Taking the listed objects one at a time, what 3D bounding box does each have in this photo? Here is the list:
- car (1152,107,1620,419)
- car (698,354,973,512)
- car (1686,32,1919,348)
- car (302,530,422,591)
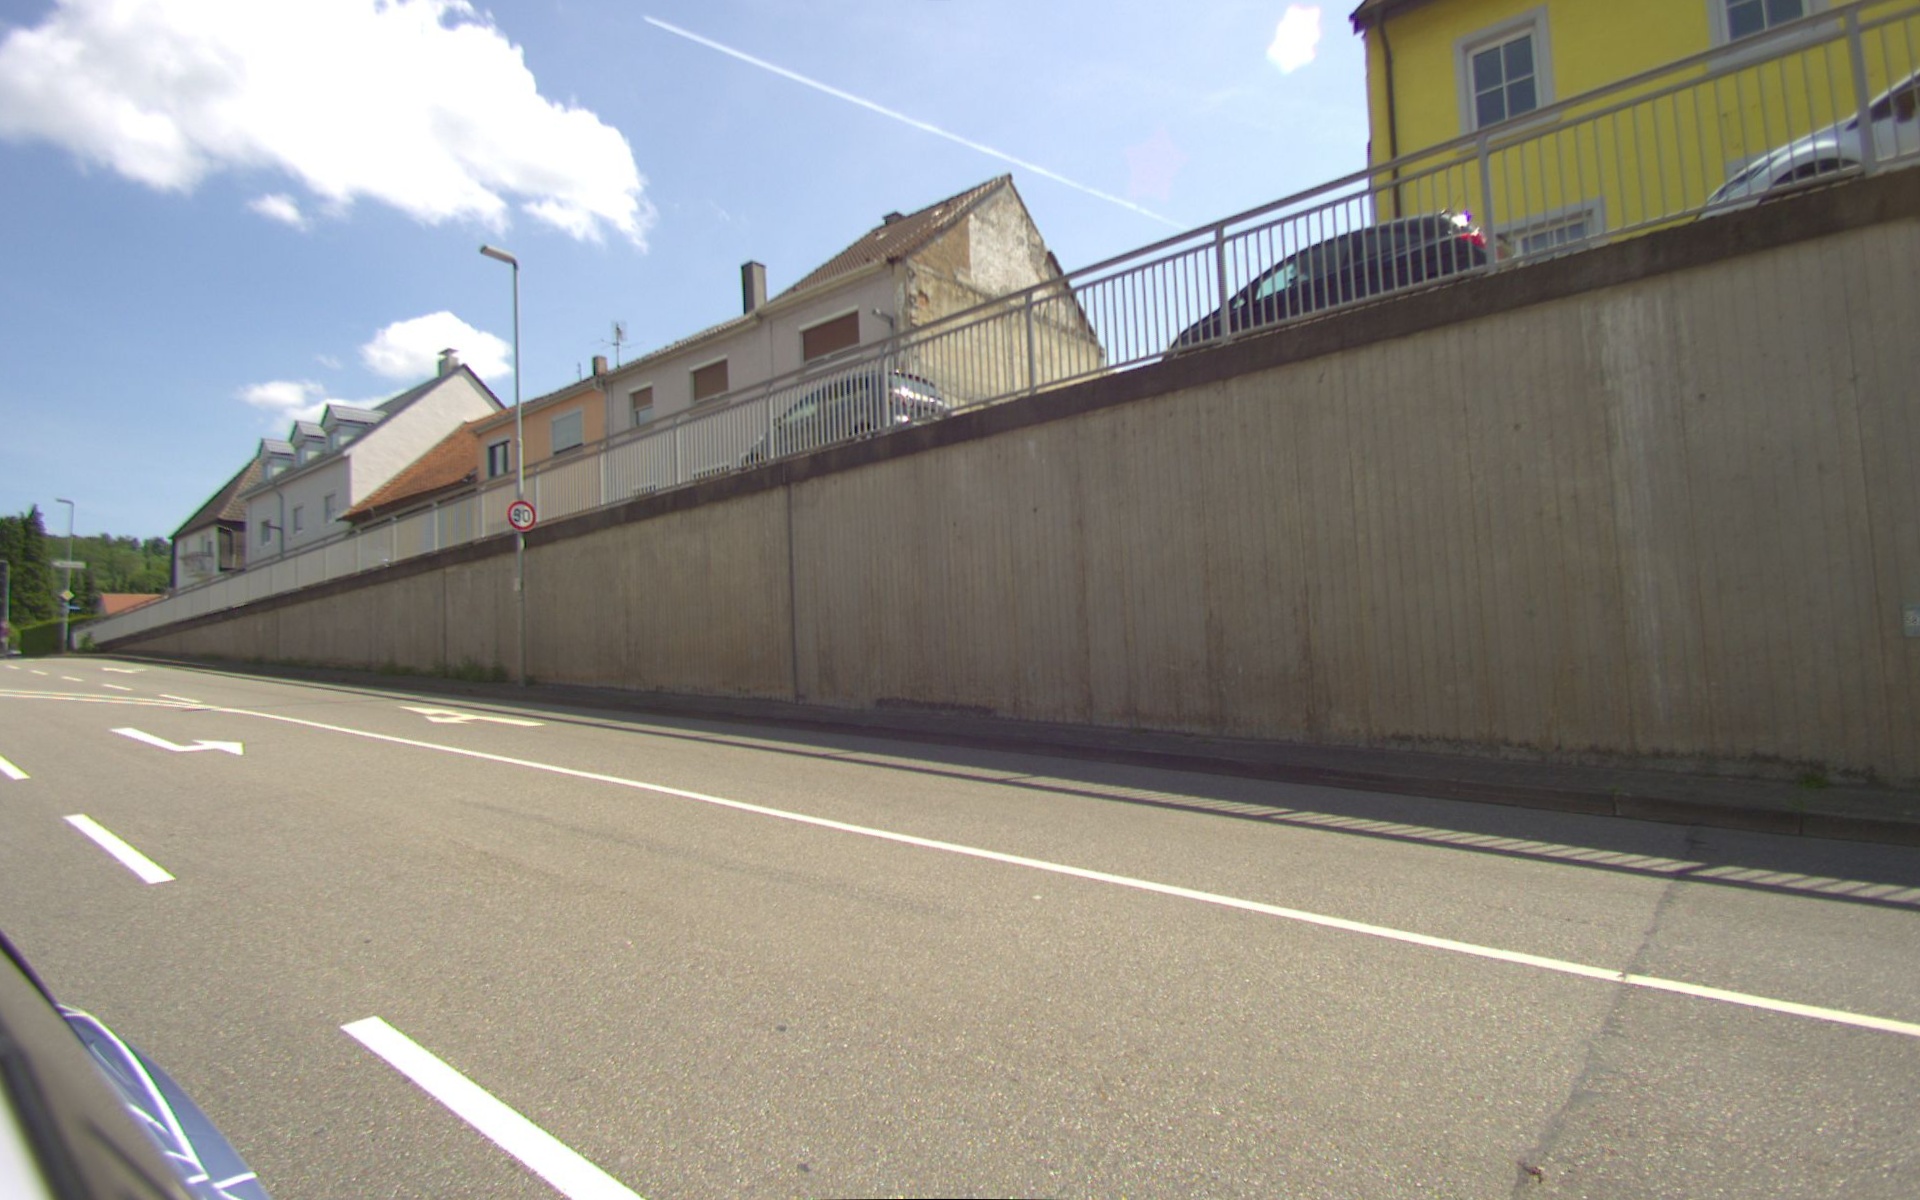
[{"bbox_3d":[4.404,-3.299,10.842,4.217,1.718,1.804,-5,-4,39],"label":"car"},{"bbox_3d":[-2.077,-2.497,16.092,4.388,1.536,1.781,-5,-4,39],"label":"car"},{"bbox_3d":[8.240,-3.436,7.891,3.996,1.681,1.883,-5,-4,39],"label":"car"},{"bbox_3d":[-18.424,-1.145,31.088,4.388,1.416,1.768,-5,-4,39],"label":"car"}]
